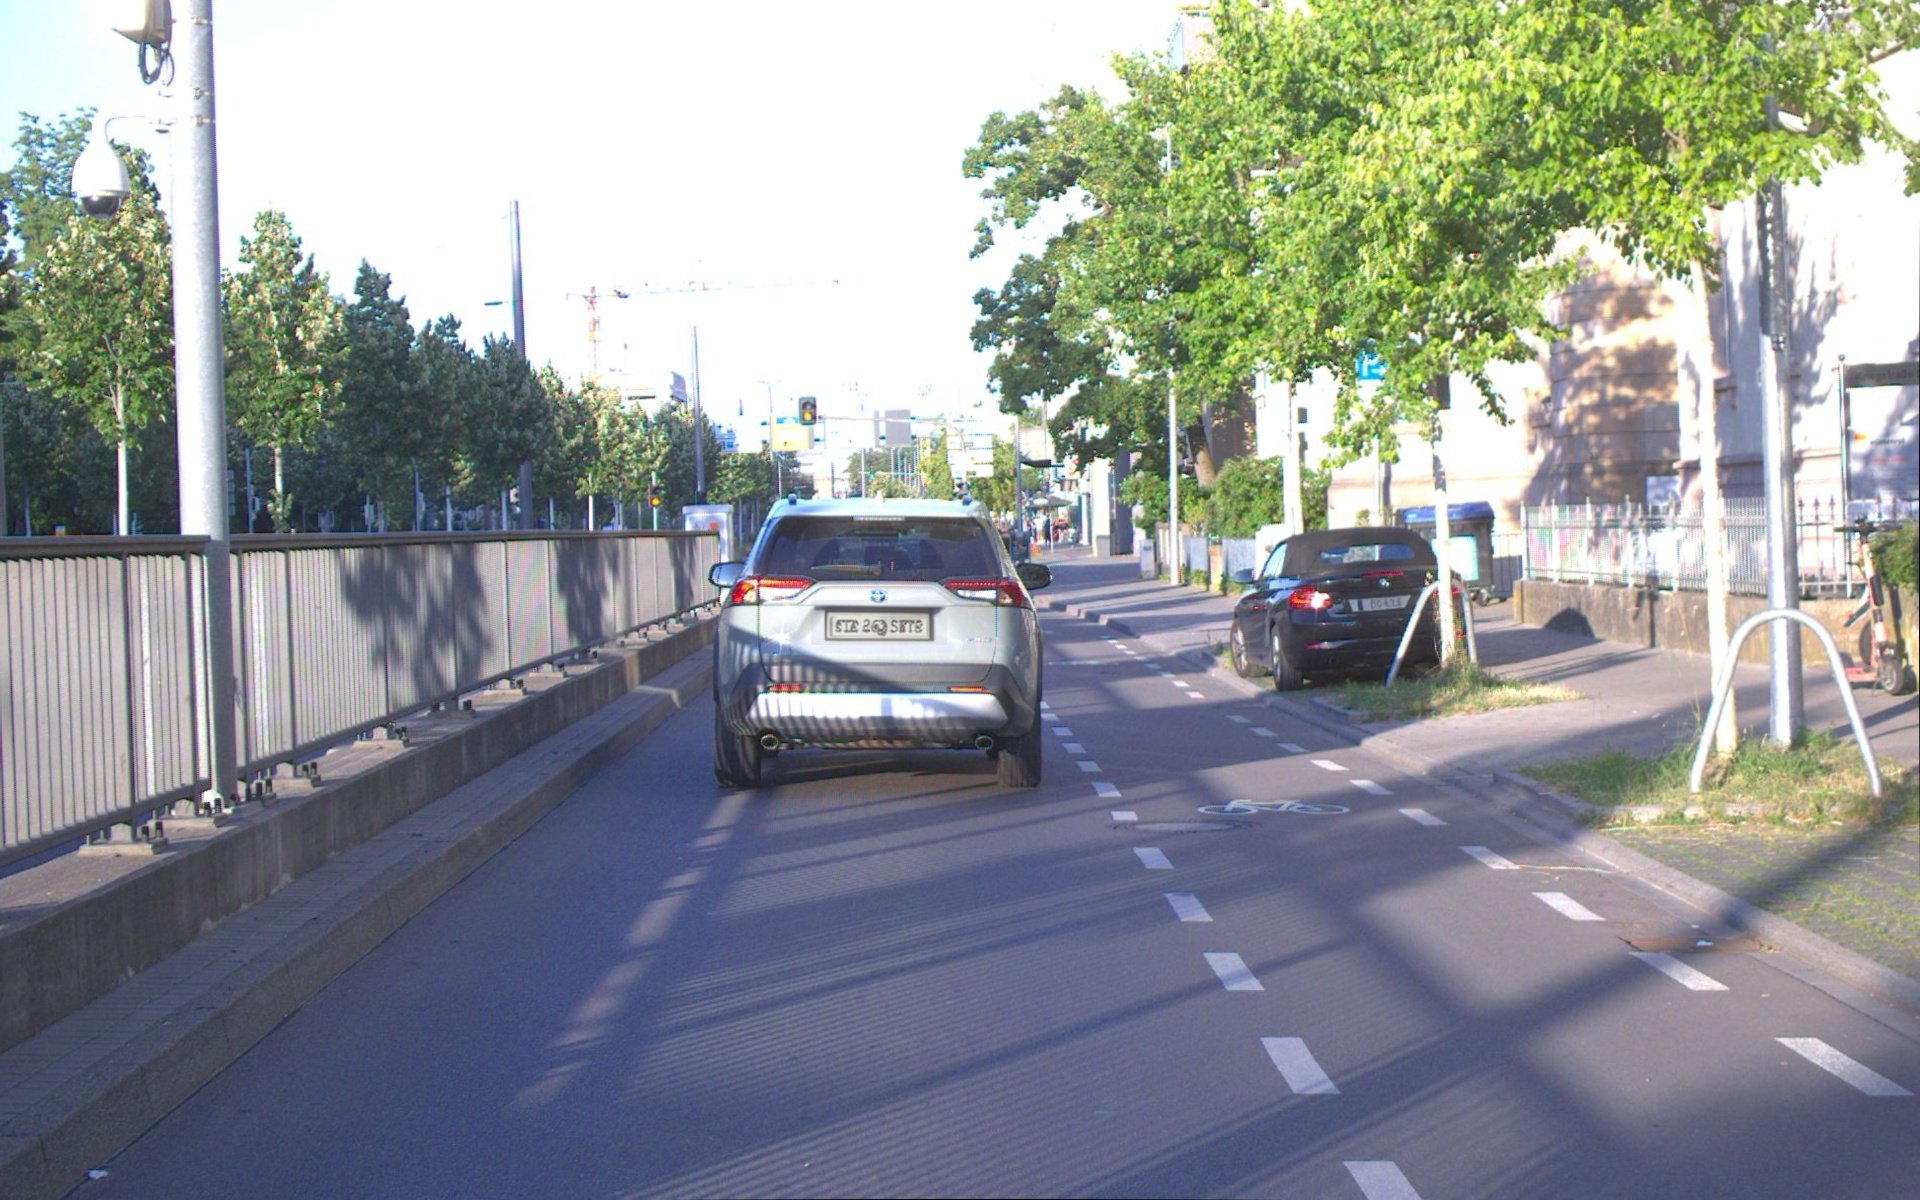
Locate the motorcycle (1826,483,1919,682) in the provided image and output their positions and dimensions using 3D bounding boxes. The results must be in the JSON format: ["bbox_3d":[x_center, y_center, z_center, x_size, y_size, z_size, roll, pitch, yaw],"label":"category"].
[{"bbox_3d":[7.283,-0.164,25.470,1.496,1.408,0.626,-3,3,-4],"label":"motorcycle"}]

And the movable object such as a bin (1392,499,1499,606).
[{"bbox_3d":[6.782,-0.674,48.073,1.260,1.457,1.124,-1,1,-4],"label":"movable object such as a bin"}]

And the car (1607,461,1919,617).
[{"bbox_3d":[10.210,-0.773,41.956,4.195,1.565,1.916,-5,1,2],"label":"car"}]

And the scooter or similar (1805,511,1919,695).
[{"bbox_3d":[6.337,0.011,24.033,0.490,1.254,1.209,0,1,-4],"label":"scooter or similar"}]

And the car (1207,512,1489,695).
[{"bbox_3d":[3.551,-0.022,32.228,1.792,1.466,4.446,-4,2,-3],"label":"car"}]

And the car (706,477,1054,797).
[{"bbox_3d":[-0.516,0.159,20.582,1.857,1.708,4.193,0,1,-2],"label":"car"}]
